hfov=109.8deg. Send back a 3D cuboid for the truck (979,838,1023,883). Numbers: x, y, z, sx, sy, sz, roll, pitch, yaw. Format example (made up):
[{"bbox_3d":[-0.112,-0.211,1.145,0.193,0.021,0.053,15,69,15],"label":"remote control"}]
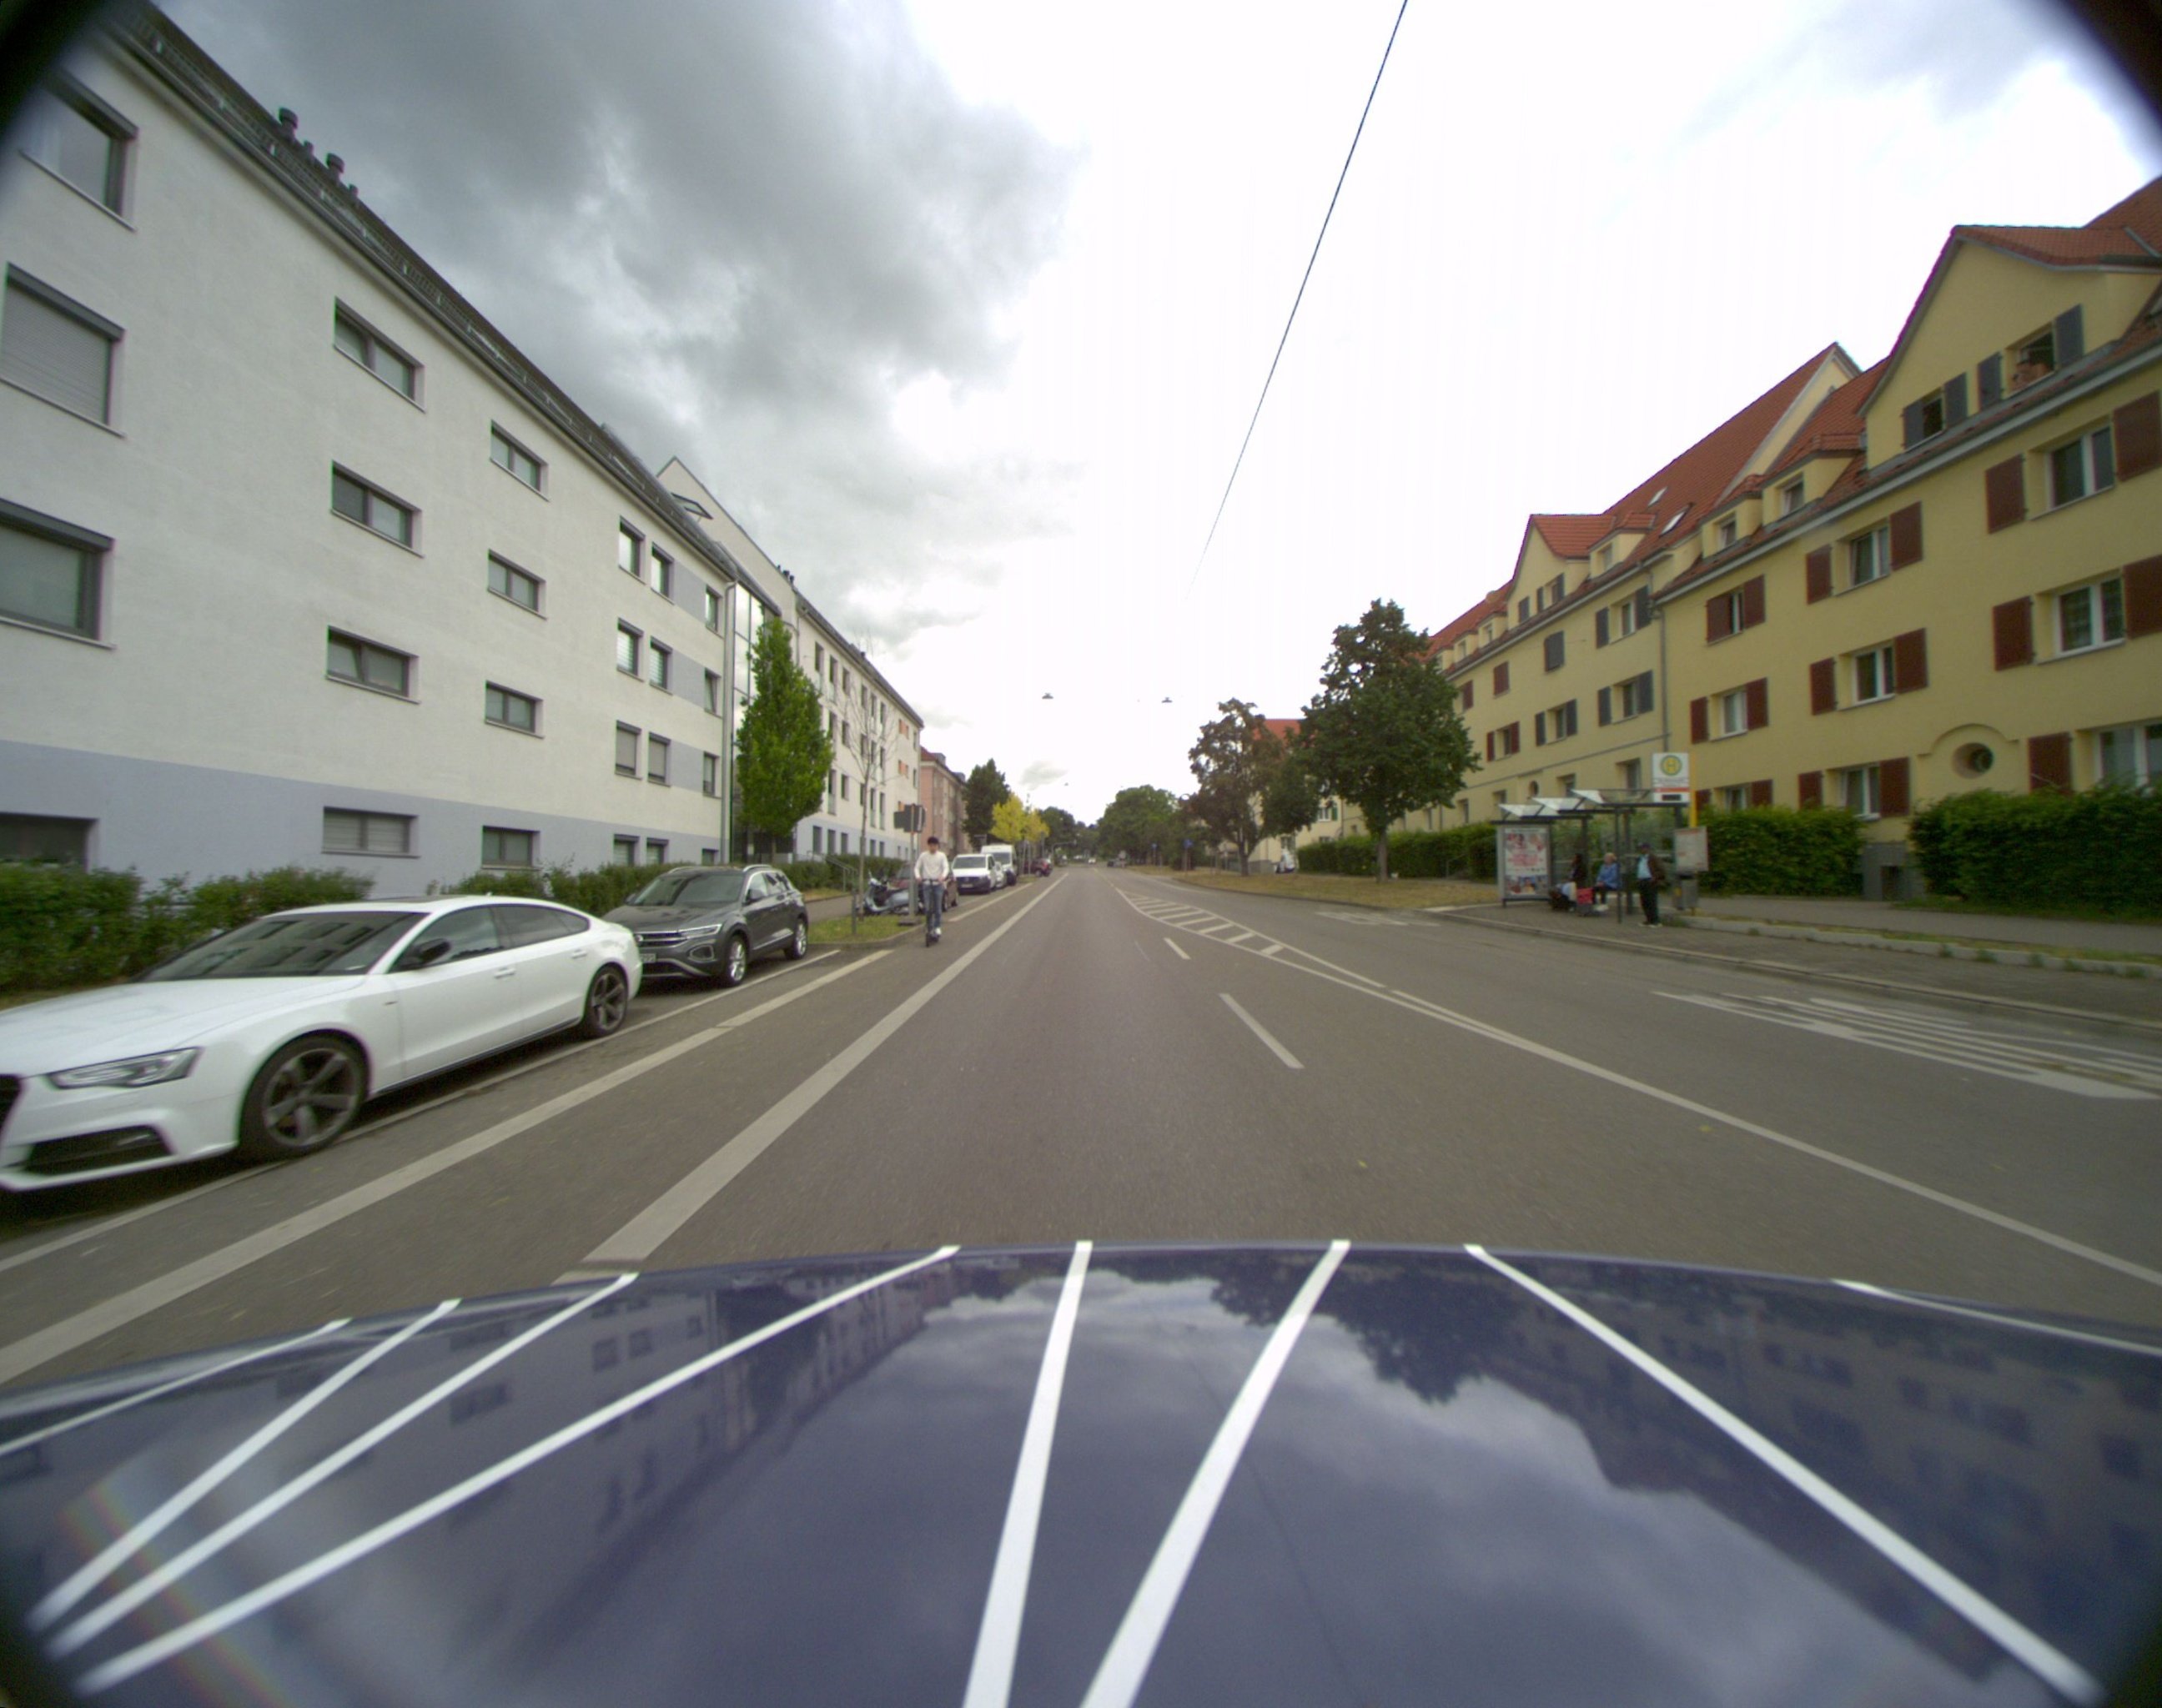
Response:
[{"bbox_3d":[-4.825,0.393,46.609,2.058,2.550,5.689,-1,0,-1],"label":"truck"}]

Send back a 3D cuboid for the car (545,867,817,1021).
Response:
[{"bbox_3d":[-5.287,1.054,10.791,1.636,1.640,4.355,-2,0,-2],"label":"car"}]

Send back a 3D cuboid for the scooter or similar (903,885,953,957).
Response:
[{"bbox_3d":[-2.791,1.186,14.062,0.492,1.156,2.075,-1,0,0],"label":"scooter or similar"}]

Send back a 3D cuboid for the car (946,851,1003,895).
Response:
[{"bbox_3d":[-4.980,0.850,36.221,1.999,1.932,5.211,-1,0,0],"label":"car"}]

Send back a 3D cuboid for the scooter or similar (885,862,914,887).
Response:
[{"bbox_3d":[-8.000,0.892,33.521,1.382,1.098,0.471,-1,0,37],"label":"scooter or similar"}]

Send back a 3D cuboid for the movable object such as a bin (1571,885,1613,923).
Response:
[{"bbox_3d":[12.078,1.167,17.964,0.538,0.840,0.665,-2,0,1],"label":"movable object such as a bin"}]

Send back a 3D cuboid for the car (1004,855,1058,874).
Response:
[{"bbox_3d":[-4.411,0.927,67.021,4.351,1.610,1.909,-1,0,23],"label":"car"}]

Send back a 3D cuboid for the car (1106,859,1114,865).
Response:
[{"bbox_3d":[8.032,2.166,208.784,1.998,1.674,4.002,-1,0,6],"label":"car"}]

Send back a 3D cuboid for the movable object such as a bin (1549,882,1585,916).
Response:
[{"bbox_3d":[12.224,1.122,19.117,0.465,0.821,0.665,-2,0,2],"label":"movable object such as a bin"}]

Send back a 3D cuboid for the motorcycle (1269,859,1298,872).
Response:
[{"bbox_3d":[19.568,1.109,73.428,2.598,1.271,1.019,0,1,33],"label":"motorcycle"}]

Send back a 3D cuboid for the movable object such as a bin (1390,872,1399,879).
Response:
[{"bbox_3d":[16.426,1.103,39.816,0.307,0.345,0.581,-1,0,6],"label":"movable object such as a bin"}]

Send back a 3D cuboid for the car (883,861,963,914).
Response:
[{"bbox_3d":[-4.980,1.007,24.509,1.685,1.535,4.339,-1,0,-1],"label":"car"}]

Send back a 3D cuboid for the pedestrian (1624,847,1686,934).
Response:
[{"bbox_3d":[11.754,0.732,15.583,0.598,1.716,0.861,-1,0,3],"label":"pedestrian"}]

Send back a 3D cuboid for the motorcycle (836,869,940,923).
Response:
[{"bbox_3d":[-5.156,1.104,20.403,2.605,1.372,0.692,-1,0,-4],"label":"motorcycle"}]

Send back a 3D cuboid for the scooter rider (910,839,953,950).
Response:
[{"bbox_3d":[-2.772,0.739,14.150,0.627,2.002,0.758,-1,0,0],"label":"scooter rider"}]

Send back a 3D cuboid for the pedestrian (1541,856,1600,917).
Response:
[{"bbox_3d":[12.283,0.805,19.092,0.901,1.465,0.806,-2,0,1],"label":"pedestrian"}]

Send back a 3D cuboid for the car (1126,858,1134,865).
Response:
[{"bbox_3d":[12.807,1.982,198.581,1.860,1.596,4.001,-1,0,2],"label":"car"}]

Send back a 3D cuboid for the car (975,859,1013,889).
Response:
[{"bbox_3d":[-4.689,1.054,41.341,1.529,1.477,3.726,-2,0,0],"label":"car"}]

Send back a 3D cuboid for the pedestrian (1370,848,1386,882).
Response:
[{"bbox_3d":[15.712,0.582,40.194,0.515,1.769,0.753,-1,0,0],"label":"pedestrian"}]

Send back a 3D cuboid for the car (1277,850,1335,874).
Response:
[{"bbox_3d":[20.728,0.731,70.057,4.729,2.240,1.995,0,0,1],"label":"car"}]

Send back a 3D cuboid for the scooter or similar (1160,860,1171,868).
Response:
[{"bbox_3d":[10.612,1.255,95.440,1.374,1.080,0.466,0,0,-4],"label":"scooter or similar"}]

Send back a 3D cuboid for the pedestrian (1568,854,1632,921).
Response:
[{"bbox_3d":[12.229,0.781,17.926,0.901,1.501,0.806,-2,0,1],"label":"pedestrian"}]

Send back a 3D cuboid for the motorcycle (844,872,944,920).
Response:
[{"bbox_3d":[-5.185,1.154,21.171,2.605,1.271,0.753,-1,0,-4],"label":"motorcycle"}]

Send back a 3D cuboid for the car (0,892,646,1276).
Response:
[{"bbox_3d":[-5.230,1.104,5.401,1.734,1.405,4.499,-2,0,-2],"label":"car"}]
